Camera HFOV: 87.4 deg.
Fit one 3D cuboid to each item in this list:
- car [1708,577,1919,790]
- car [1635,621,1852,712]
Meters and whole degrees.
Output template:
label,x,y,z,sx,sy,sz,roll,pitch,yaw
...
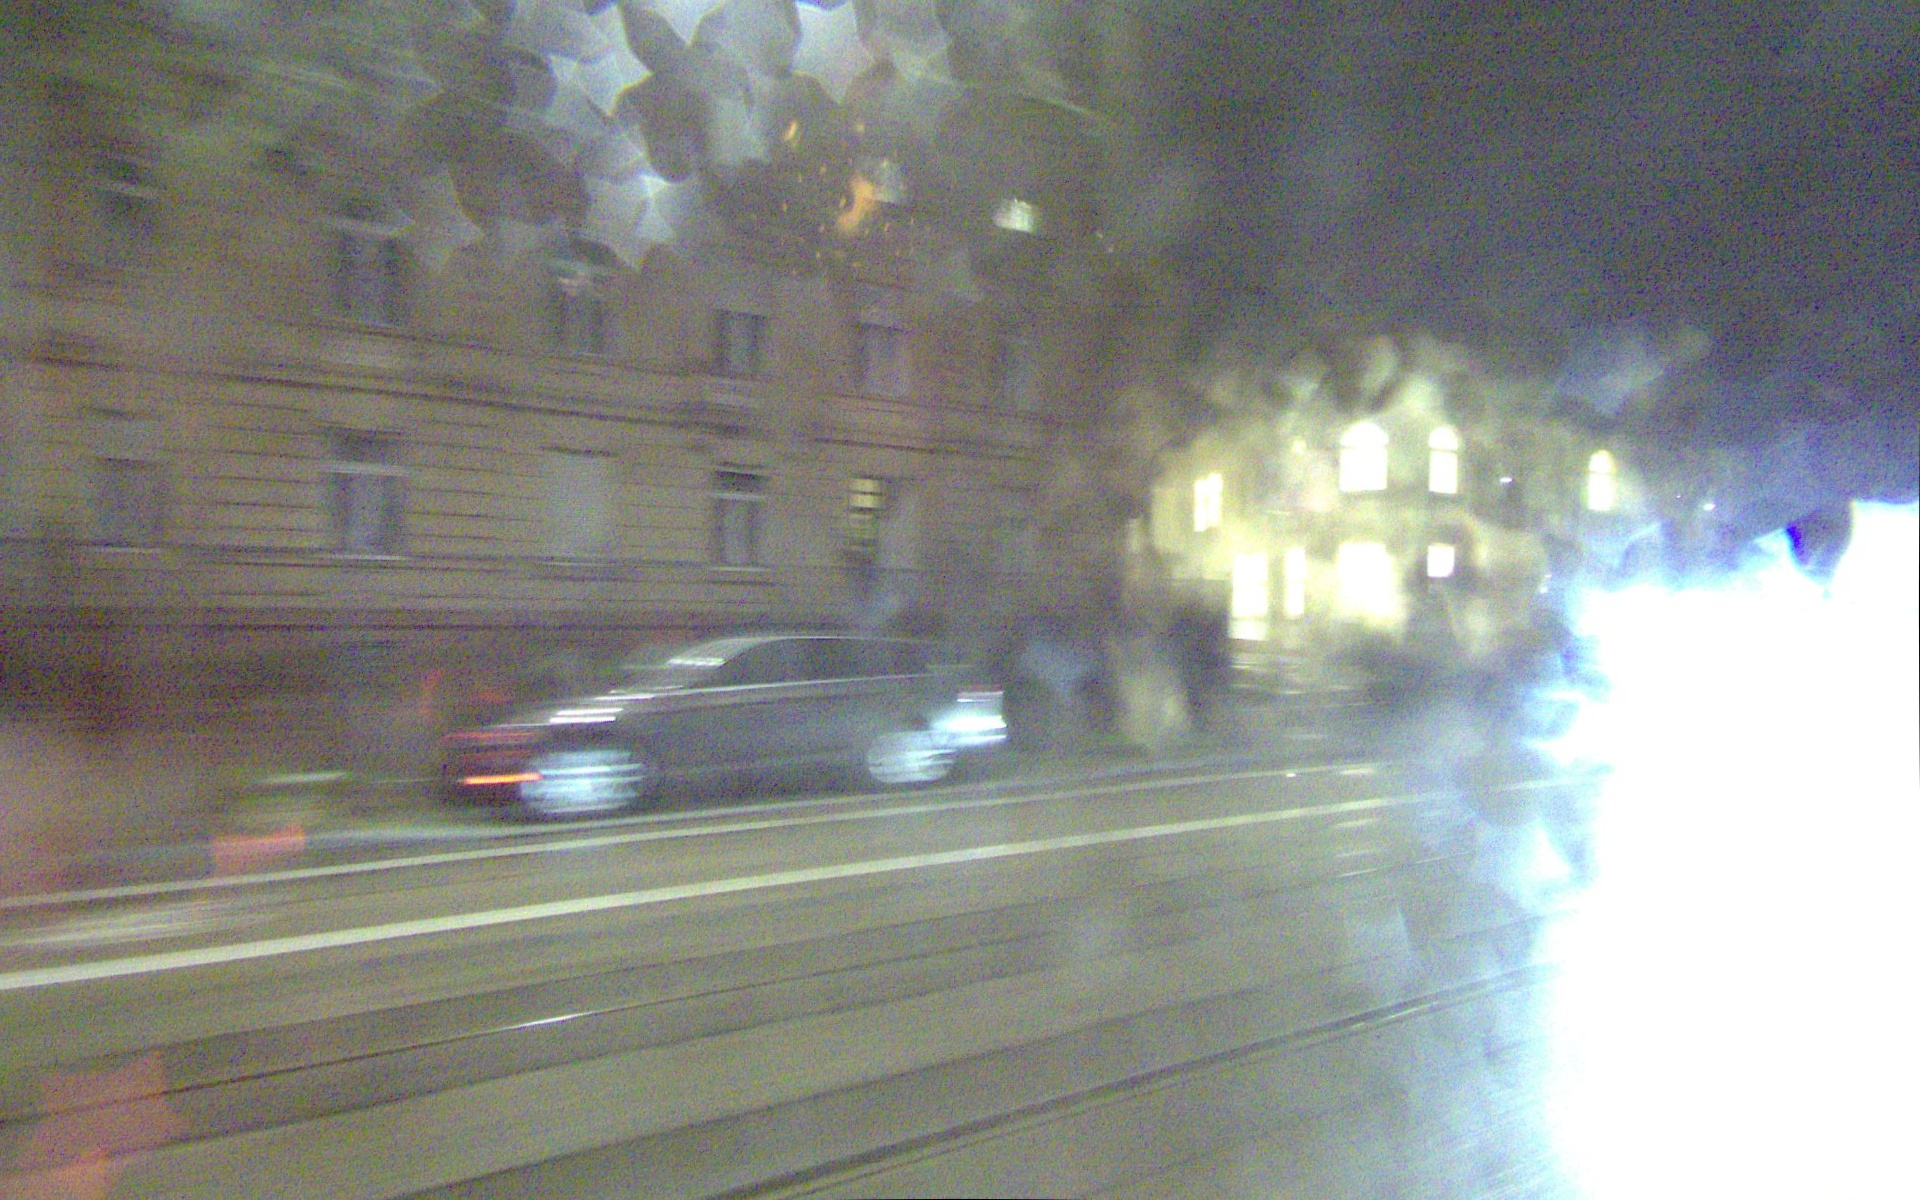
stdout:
label,x,y,z,sx,sy,sz,roll,pitch,yaw
car,9.890,0.761,10.322,4.331,1.840,1.930,1,-2,-29
car,14.354,1.189,18.372,3.952,1.405,1.661,2,2,-29
